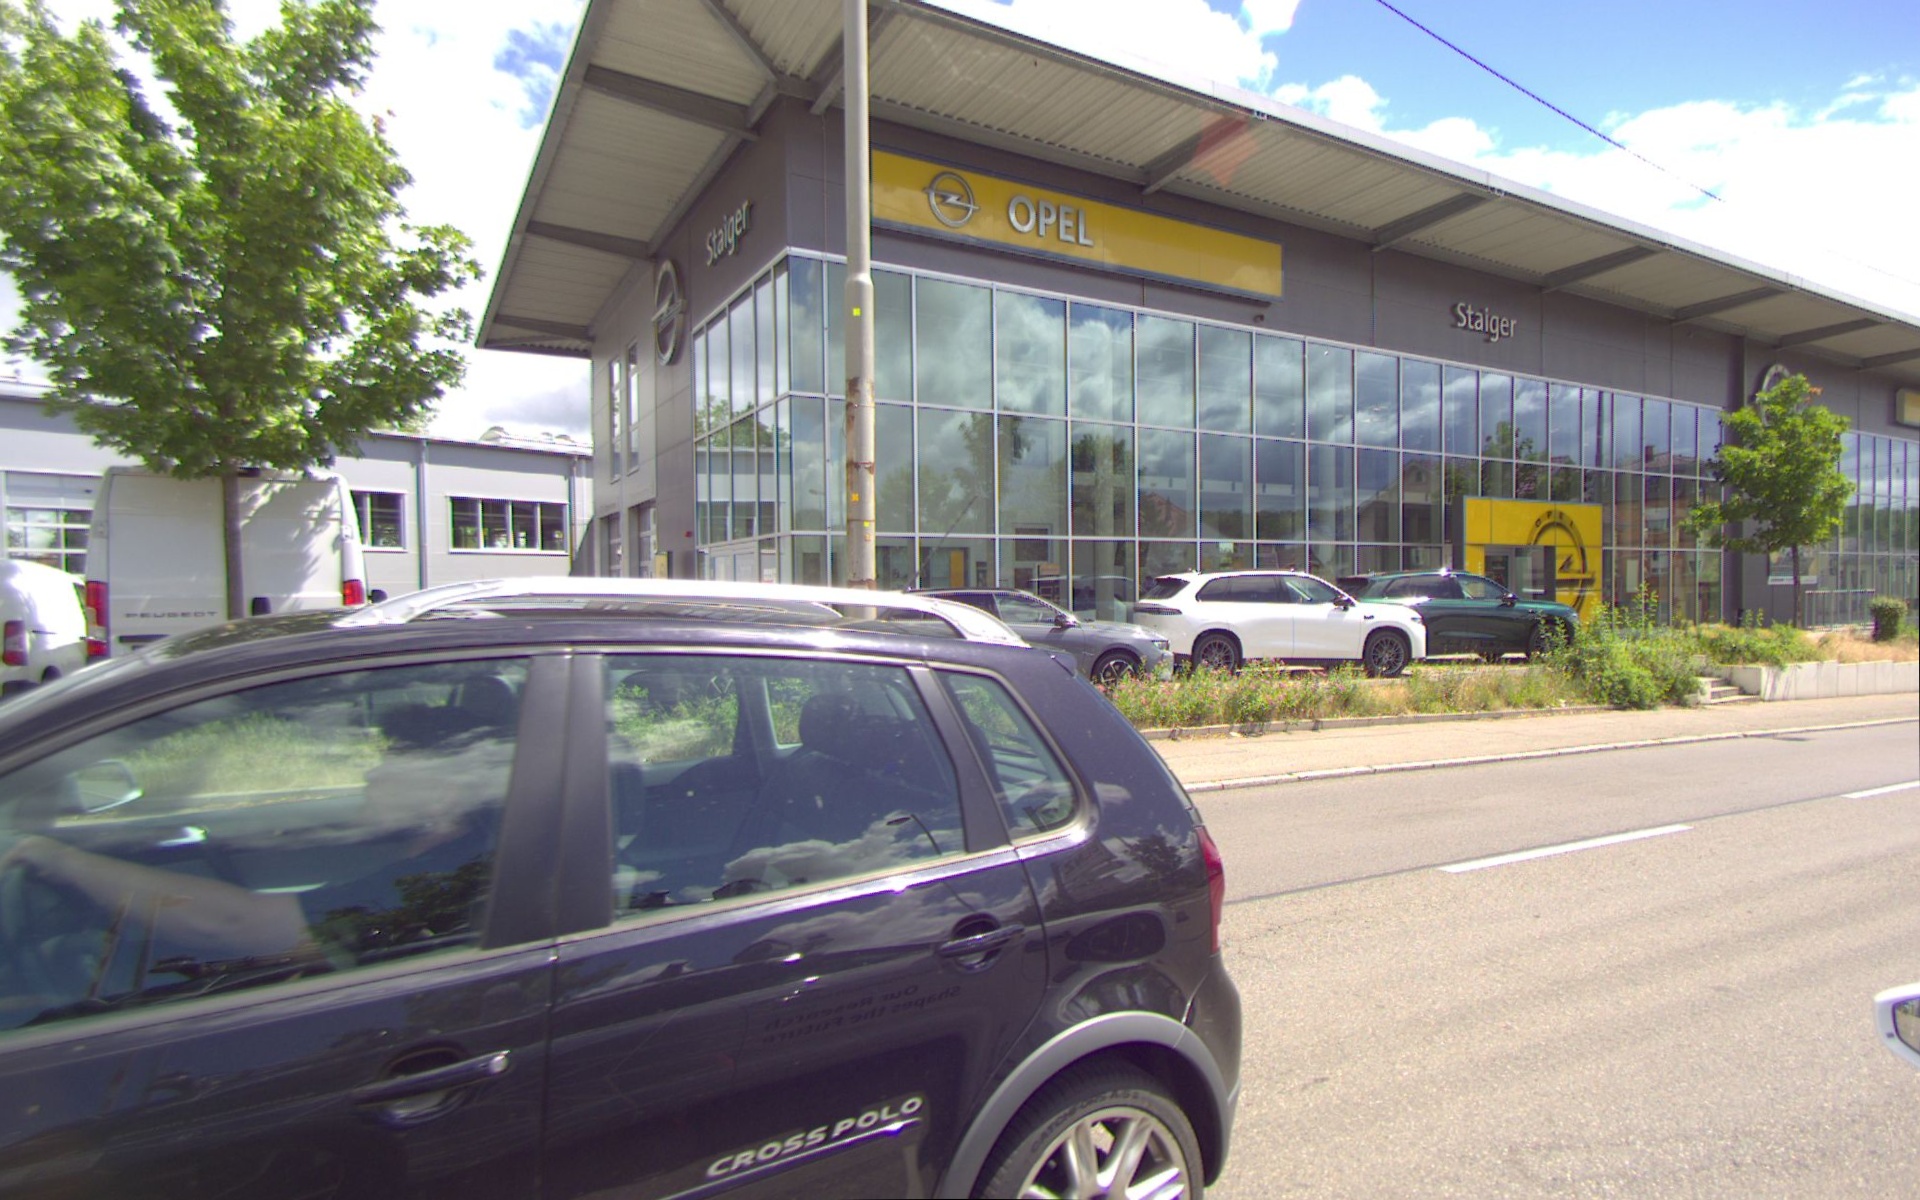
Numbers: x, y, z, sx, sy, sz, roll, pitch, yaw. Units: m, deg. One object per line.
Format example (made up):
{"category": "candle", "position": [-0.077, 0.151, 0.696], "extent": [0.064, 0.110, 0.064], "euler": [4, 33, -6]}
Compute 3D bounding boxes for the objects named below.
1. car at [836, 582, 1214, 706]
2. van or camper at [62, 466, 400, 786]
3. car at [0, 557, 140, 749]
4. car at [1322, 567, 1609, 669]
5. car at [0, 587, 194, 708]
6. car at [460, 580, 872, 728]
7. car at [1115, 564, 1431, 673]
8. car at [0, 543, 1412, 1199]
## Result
{"category": "car", "position": [0.808, 0.535, 13.556], "extent": [4.738, 1.470, 1.900], "euler": [-1, 1, -2]}
{"category": "van or camper", "position": [-7.385, 0.173, 10.797], "extent": [2.290, 2.565, 5.003], "euler": [-2, 1, -30]}
{"category": "car", "position": [-10.245, 0.486, 10.407], "extent": [1.976, 1.729, 3.969], "euler": [-2, 1, -29]}
{"category": "car", "position": [9.339, 0.290, 18.782], "extent": [4.399, 1.721, 1.999], "euler": [-1, 1, -4]}
{"category": "car", "position": [-12.920, 0.605, 14.897], "extent": [1.906, 1.556, 4.208], "euler": [1, 0, -30]}
{"category": "car", "position": [-3.456, 0.569, 11.974], "extent": [4.387, 1.529, 1.944], "euler": [0, -1, 19]}
{"category": "car", "position": [4.954, 0.307, 16.247], "extent": [4.468, 1.594, 1.935], "euler": [1, 0, -6]}
{"category": "car", "position": [-1.219, 0.717, 1.977], "extent": [4.229, 1.529, 1.820], "euler": [1, -1, -32]}
